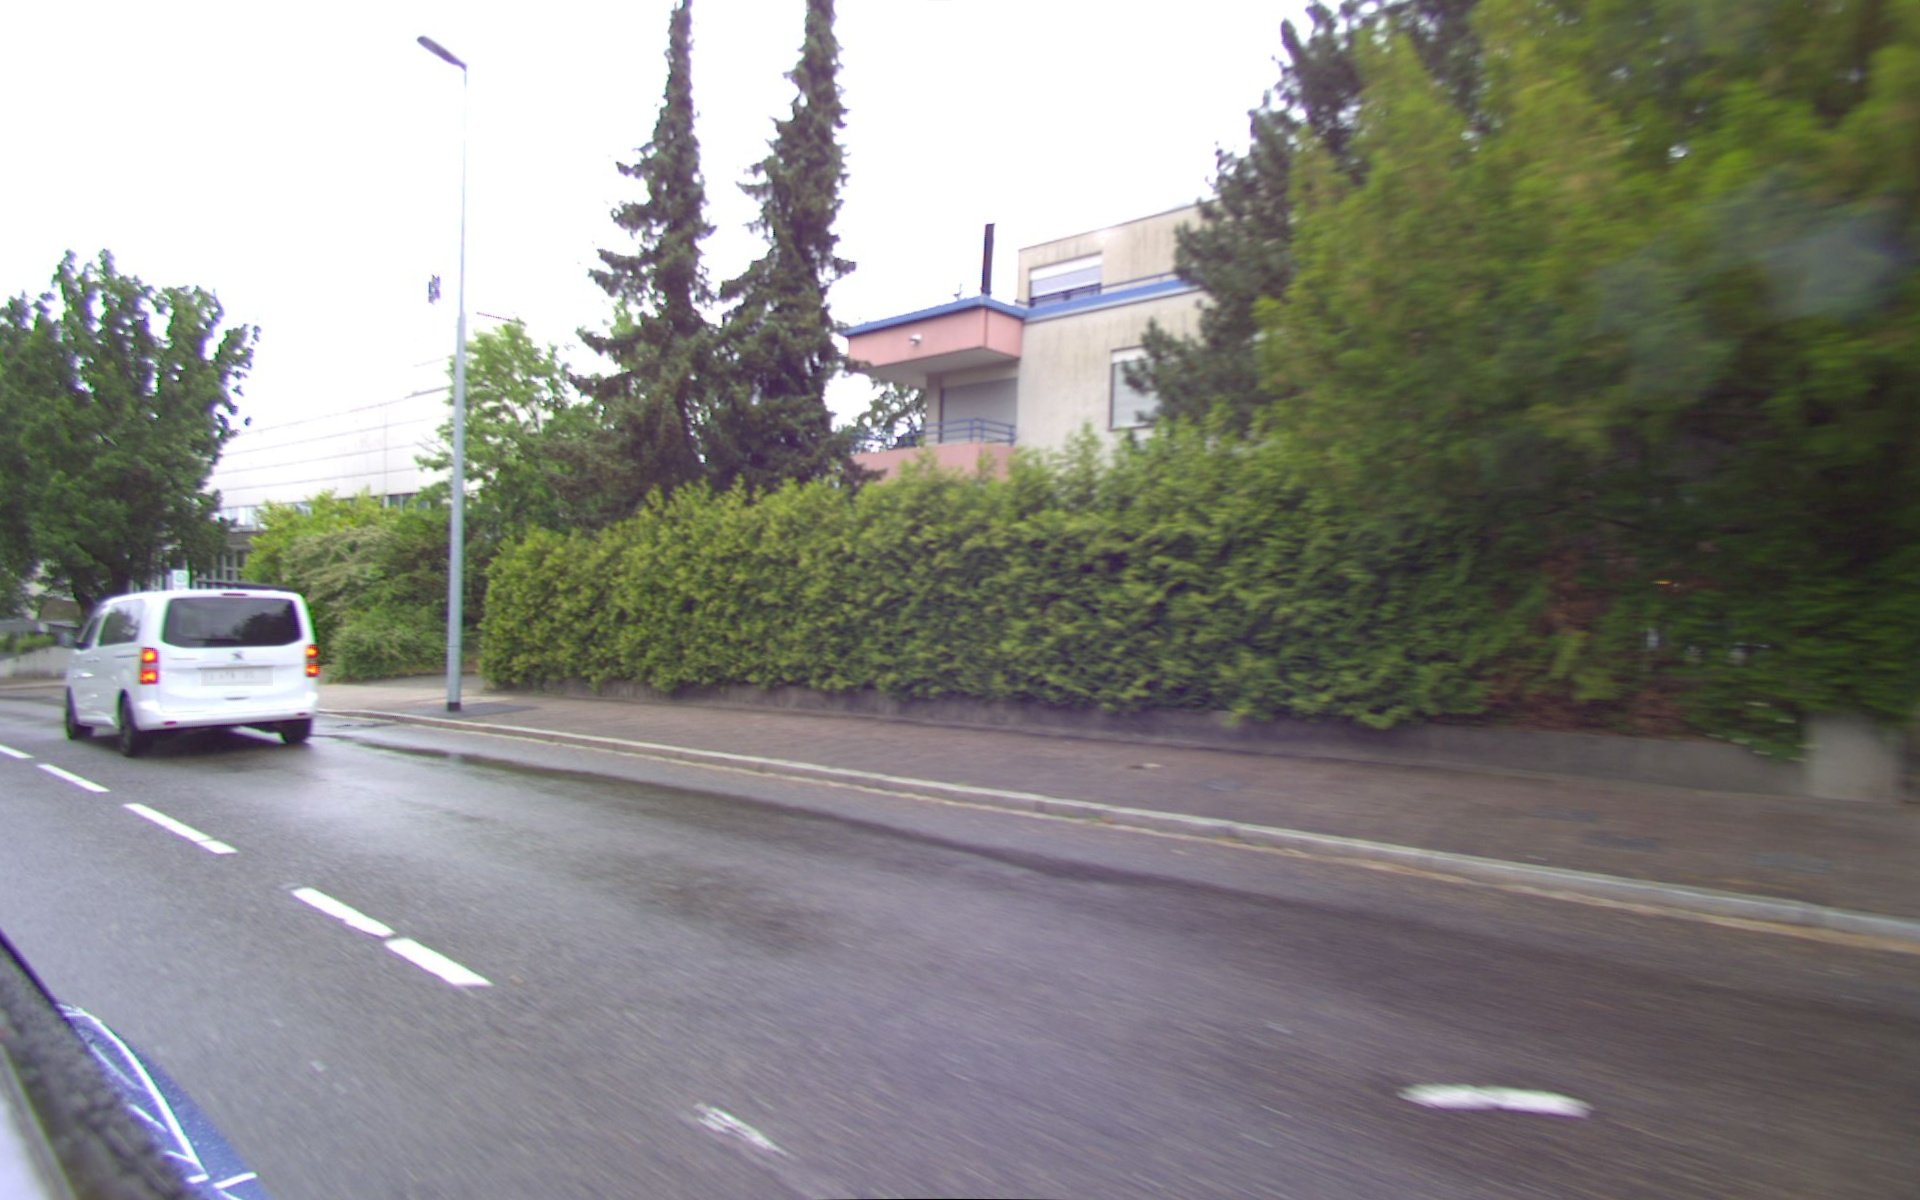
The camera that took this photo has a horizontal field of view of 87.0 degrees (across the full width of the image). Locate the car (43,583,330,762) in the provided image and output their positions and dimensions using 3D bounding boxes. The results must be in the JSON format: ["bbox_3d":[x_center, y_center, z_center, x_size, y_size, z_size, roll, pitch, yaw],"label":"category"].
[{"bbox_3d":[-10.281,0.878,13.294,5.024,1.931,1.845,-2,-3,39],"label":"car"}]
